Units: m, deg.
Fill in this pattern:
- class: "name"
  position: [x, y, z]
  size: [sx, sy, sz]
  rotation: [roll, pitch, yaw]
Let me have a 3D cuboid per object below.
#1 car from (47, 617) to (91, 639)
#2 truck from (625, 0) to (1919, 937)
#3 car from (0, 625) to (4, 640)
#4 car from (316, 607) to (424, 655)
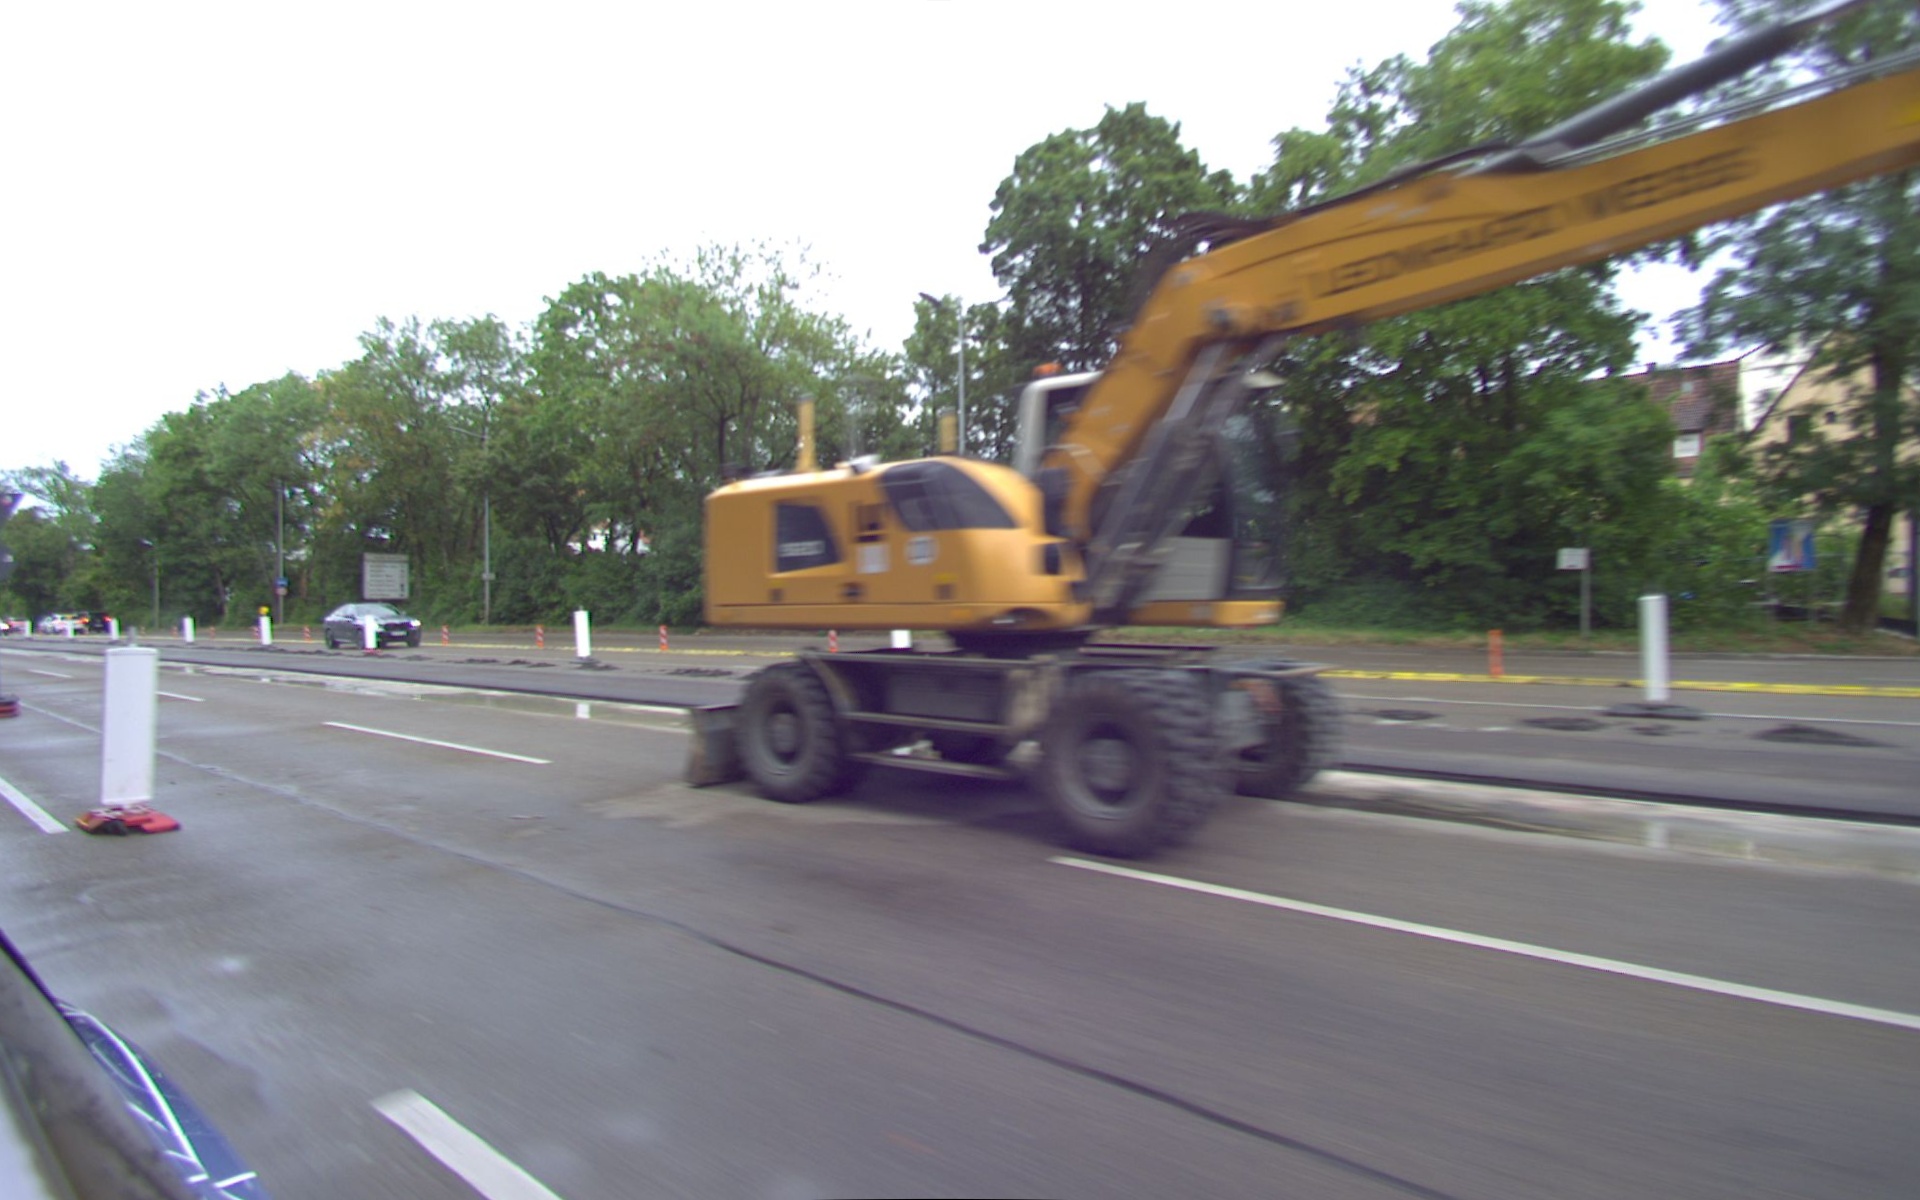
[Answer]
- class: "car"
  position: [-73.901, 2.314, 83.945]
  size: [4.887, 1.673, 1.872]
  rotation: [-1, 0, 39]
- class: "truck"
  position: [2.515, -0.943, 6.019]
  size: [10.736, 4.291, 2.871]
  rotation: [-1, 0, 37]
- class: "car"
  position: [-94.156, 3.181, 98.108]
  size: [4.008, 1.411, 1.663]
  rotation: [-1, 0, 39]
- class: "car"
  position: [-21.943, 1.124, 37.568]
  size: [4.808, 1.641, 1.973]
  rotation: [-1, 0, 40]
